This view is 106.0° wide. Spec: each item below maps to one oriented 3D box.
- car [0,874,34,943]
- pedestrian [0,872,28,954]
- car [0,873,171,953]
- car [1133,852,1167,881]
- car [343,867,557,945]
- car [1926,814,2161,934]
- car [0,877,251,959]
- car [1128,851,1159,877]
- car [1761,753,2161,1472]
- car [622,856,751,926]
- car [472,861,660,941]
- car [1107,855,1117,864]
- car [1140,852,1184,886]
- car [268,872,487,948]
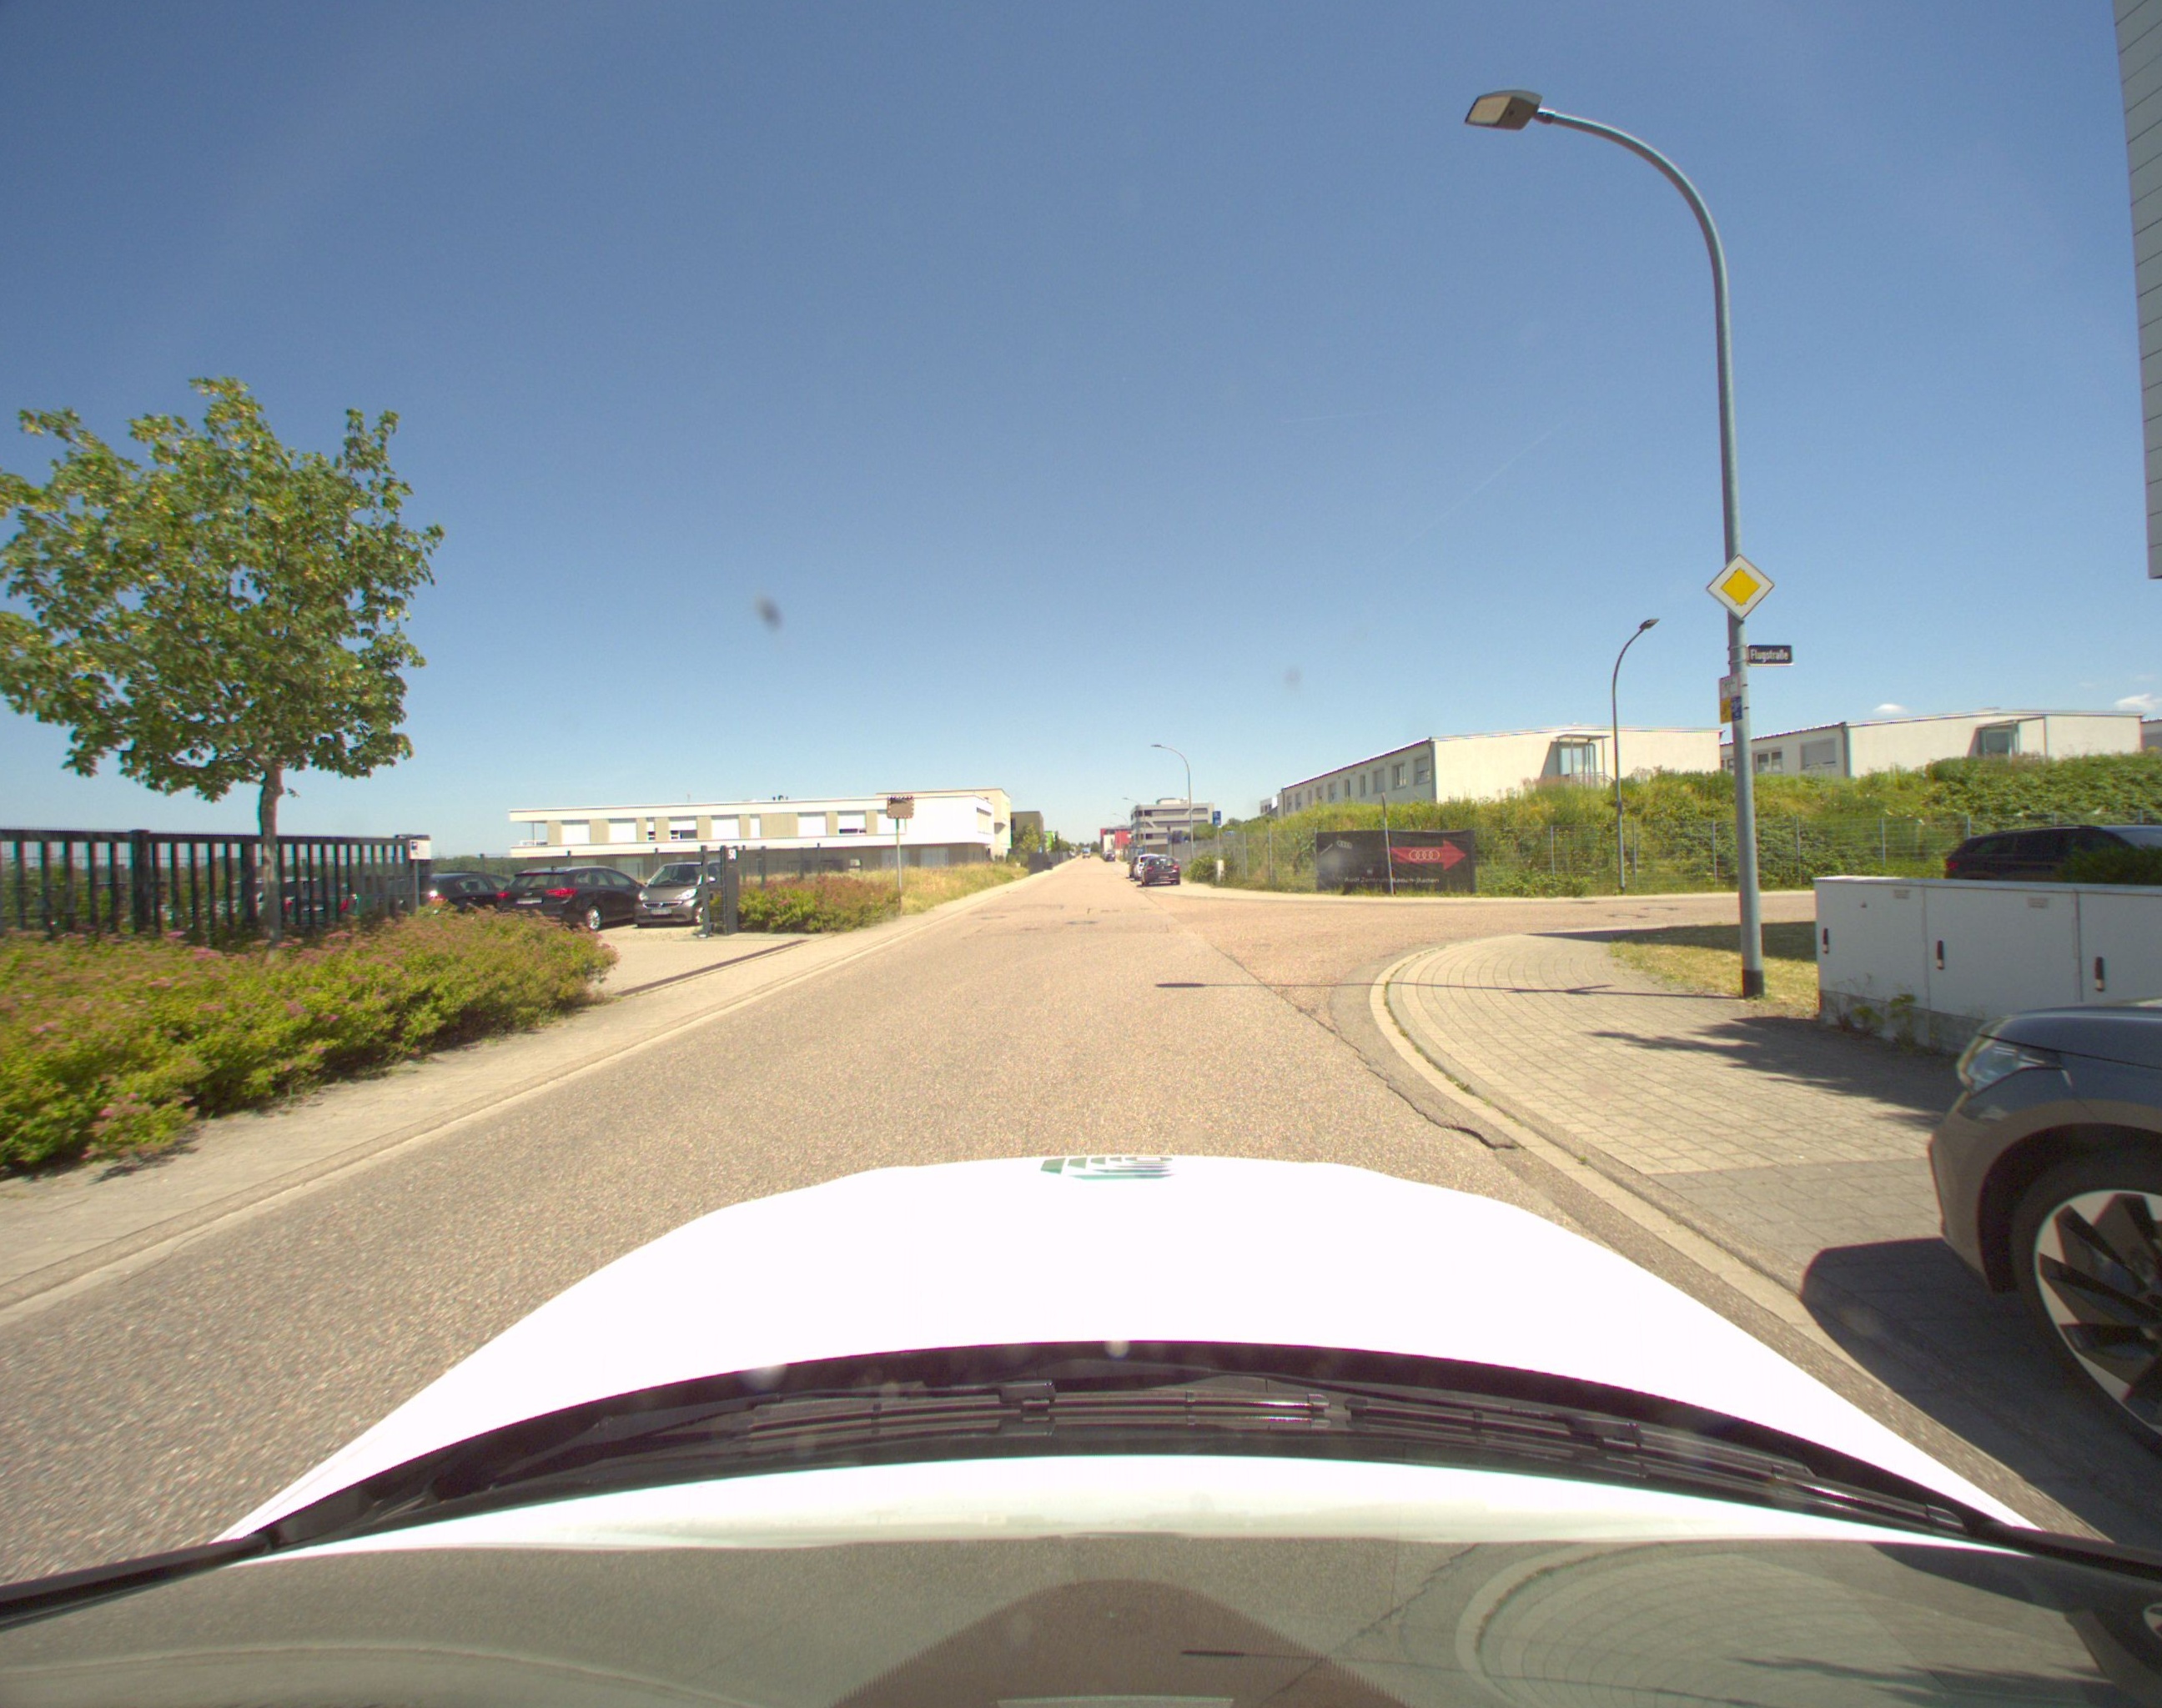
[{"bbox_3d":[-26.223,1.332,17.729,1.667,1.605,3.998,-2,0,-2],"label":"car"},{"bbox_3d":[-22.721,1.232,16.869,0.709,1.682,0.828,-1,0,-7],"label":"pedestrian"},{"bbox_3d":[-23.851,1.324,18.578,1.667,1.605,3.997,-2,0,-2],"label":"car"},{"bbox_3d":[4.107,0.695,49.129,1.899,1.546,4.004,-4,0,3],"label":"car"},{"bbox_3d":[-14.159,1.093,18.614,1.796,1.440,3.997,-2,0,-2],"label":"car"},{"bbox_3d":[16.805,0.291,13.444,1.711,1.765,4.005,-2,-1,5],"label":"car"},{"bbox_3d":[-21.253,1.331,18.028,1.667,1.440,3.997,-2,0,-2],"label":"car"},{"bbox_3d":[4.183,0.649,54.798,1.899,1.546,4.004,-4,0,3],"label":"car"},{"bbox_3d":[3.340,0.546,0.569,1.798,1.662,4.607,-4,0,0],"label":"car"},{"bbox_3d":[-9.578,0.843,20.010,1.695,1.520,2.996,-2,0,-2],"label":"car"},{"bbox_3d":[-11.696,0.982,18.861,1.820,1.541,3.997,-2,0,-2],"label":"car"},{"bbox_3d":[5.641,0.971,150.335,1.770,1.728,4.001,0,0,1],"label":"car"},{"bbox_3d":[3.917,0.696,39.853,1.899,1.448,4.004,-4,0,3],"label":"car"},{"bbox_3d":[-16.212,1.213,19.079,1.667,1.440,3.997,-2,0,-2],"label":"car"}]
